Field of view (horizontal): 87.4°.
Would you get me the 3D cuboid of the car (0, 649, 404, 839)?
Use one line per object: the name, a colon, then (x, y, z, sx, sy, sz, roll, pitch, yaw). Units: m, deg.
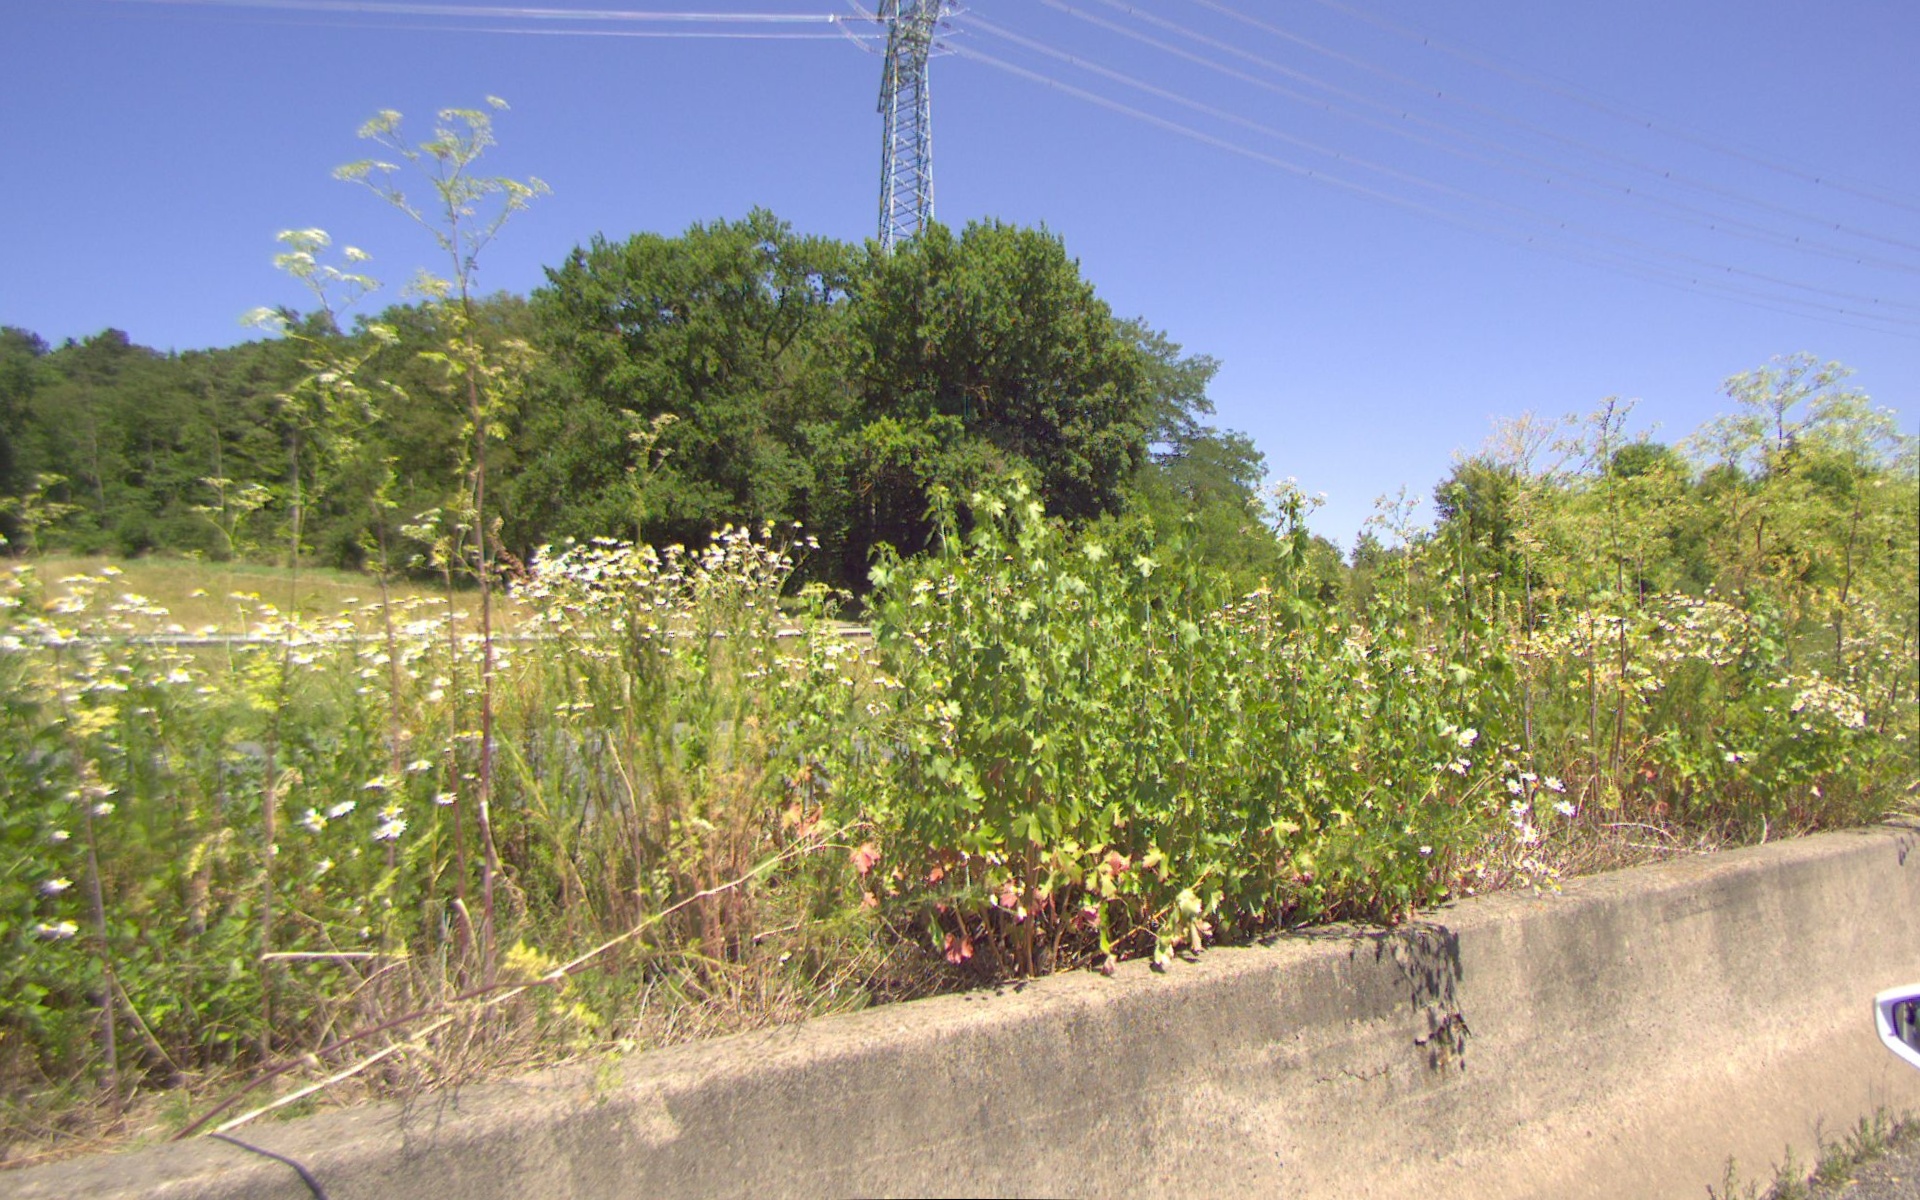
car: (-6.775, 1.172, 9.015, 3.089, 1.408, 1.576, 2, -1, -30)
